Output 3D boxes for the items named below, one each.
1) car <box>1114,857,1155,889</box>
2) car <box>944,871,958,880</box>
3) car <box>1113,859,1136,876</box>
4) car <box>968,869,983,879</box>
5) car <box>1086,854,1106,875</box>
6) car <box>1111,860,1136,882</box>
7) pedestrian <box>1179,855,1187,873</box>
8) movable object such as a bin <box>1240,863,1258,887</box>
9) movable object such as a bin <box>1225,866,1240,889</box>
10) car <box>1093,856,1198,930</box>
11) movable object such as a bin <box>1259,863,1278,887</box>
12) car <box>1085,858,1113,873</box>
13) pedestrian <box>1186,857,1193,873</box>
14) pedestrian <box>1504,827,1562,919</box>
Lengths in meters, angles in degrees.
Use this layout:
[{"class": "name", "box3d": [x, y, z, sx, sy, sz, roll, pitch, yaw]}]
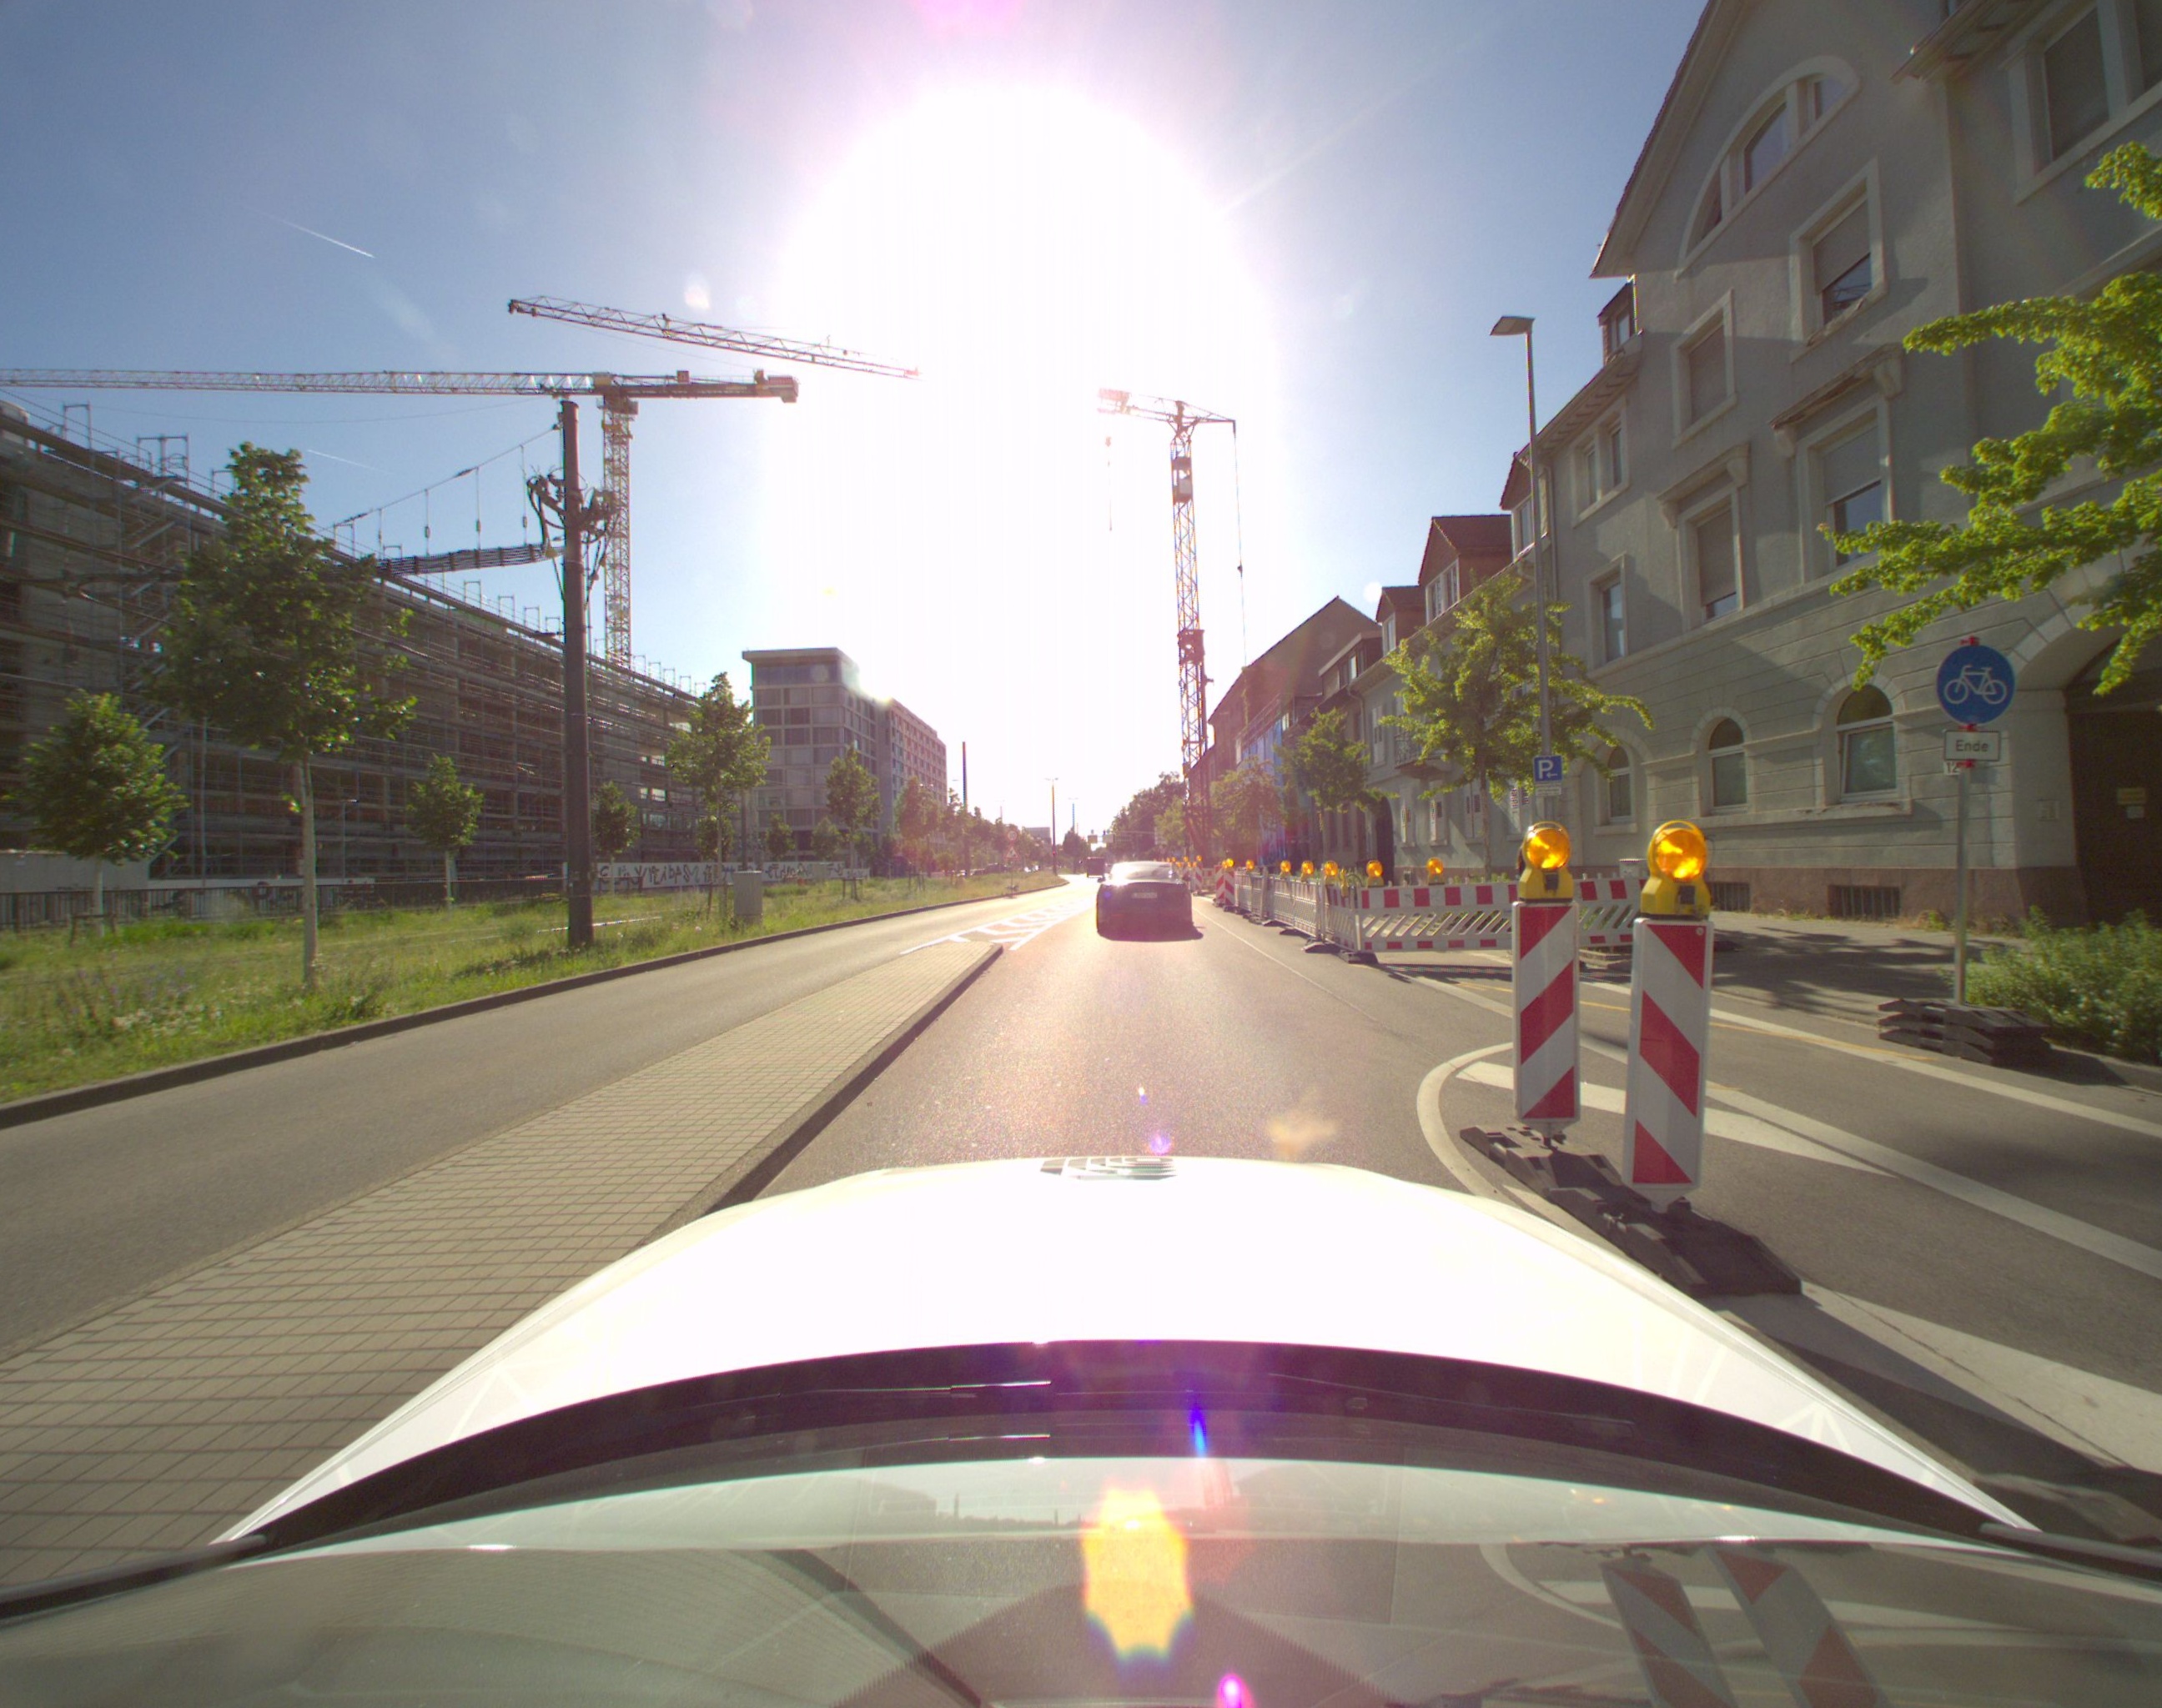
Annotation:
[{"class": "car", "box3d": [2.478, 0.874, 38.608, 1.741, 1.427, 4.839, -1, -1, 1]}, {"class": "car", "box3d": [-25.535, 4.135, 159.840, 1.783, 1.651, 4.002, -2, -1, 2]}, {"class": "car", "box3d": [3.781, 1.185, 71.207, 1.786, 1.428, 3.849, 0, -1, 0]}, {"class": "car", "box3d": [-18.575, 3.457, 143.369, 1.783, 1.651, 4.002, -2, -1, 2]}, {"class": "car", "box3d": [1.695, 1.131, 91.081, 2.210, 2.267, 4.484, 0, -1, 1]}, {"class": "car", "box3d": [3.054, 1.187, 58.584, 1.743, 1.527, 4.007, -1, -1, 2]}, {"class": "pedestrian", "box3d": [11.395, 1.144, 90.947, 0.656, 1.913, 0.587, -5, -1, 1]}, {"class": "movable object such as a bin", "box3d": [7.756, 0.975, 37.649, 0.593, 1.058, 0.731, -5, -1, 2]}, {"class": "movable object such as a bin", "box3d": [6.962, 1.082, 37.467, 0.585, 1.058, 0.731, -1, -1, 2]}, {"class": "car", "box3d": [1.324, 0.796, 18.190, 2.044, 1.444, 4.525, 0, -1, 1]}, {"class": "movable object such as a bin", "box3d": [8.639, 0.951, 37.531, 0.586, 1.057, 0.783, -6, -1, -3]}, {"class": "car", "box3d": [2.539, 1.631, 116.665, 3.963, 1.918, 1.913, -2, -1, -3]}, {"class": "pedestrian", "box3d": [12.136, 1.222, 90.952, 0.561, 1.821, 0.587, -5, -1, 1]}, {"class": "pedestrian", "box3d": [9.806, 0.408, 17.698, 0.791, 1.928, 0.770, -1, -1, -1]}]
